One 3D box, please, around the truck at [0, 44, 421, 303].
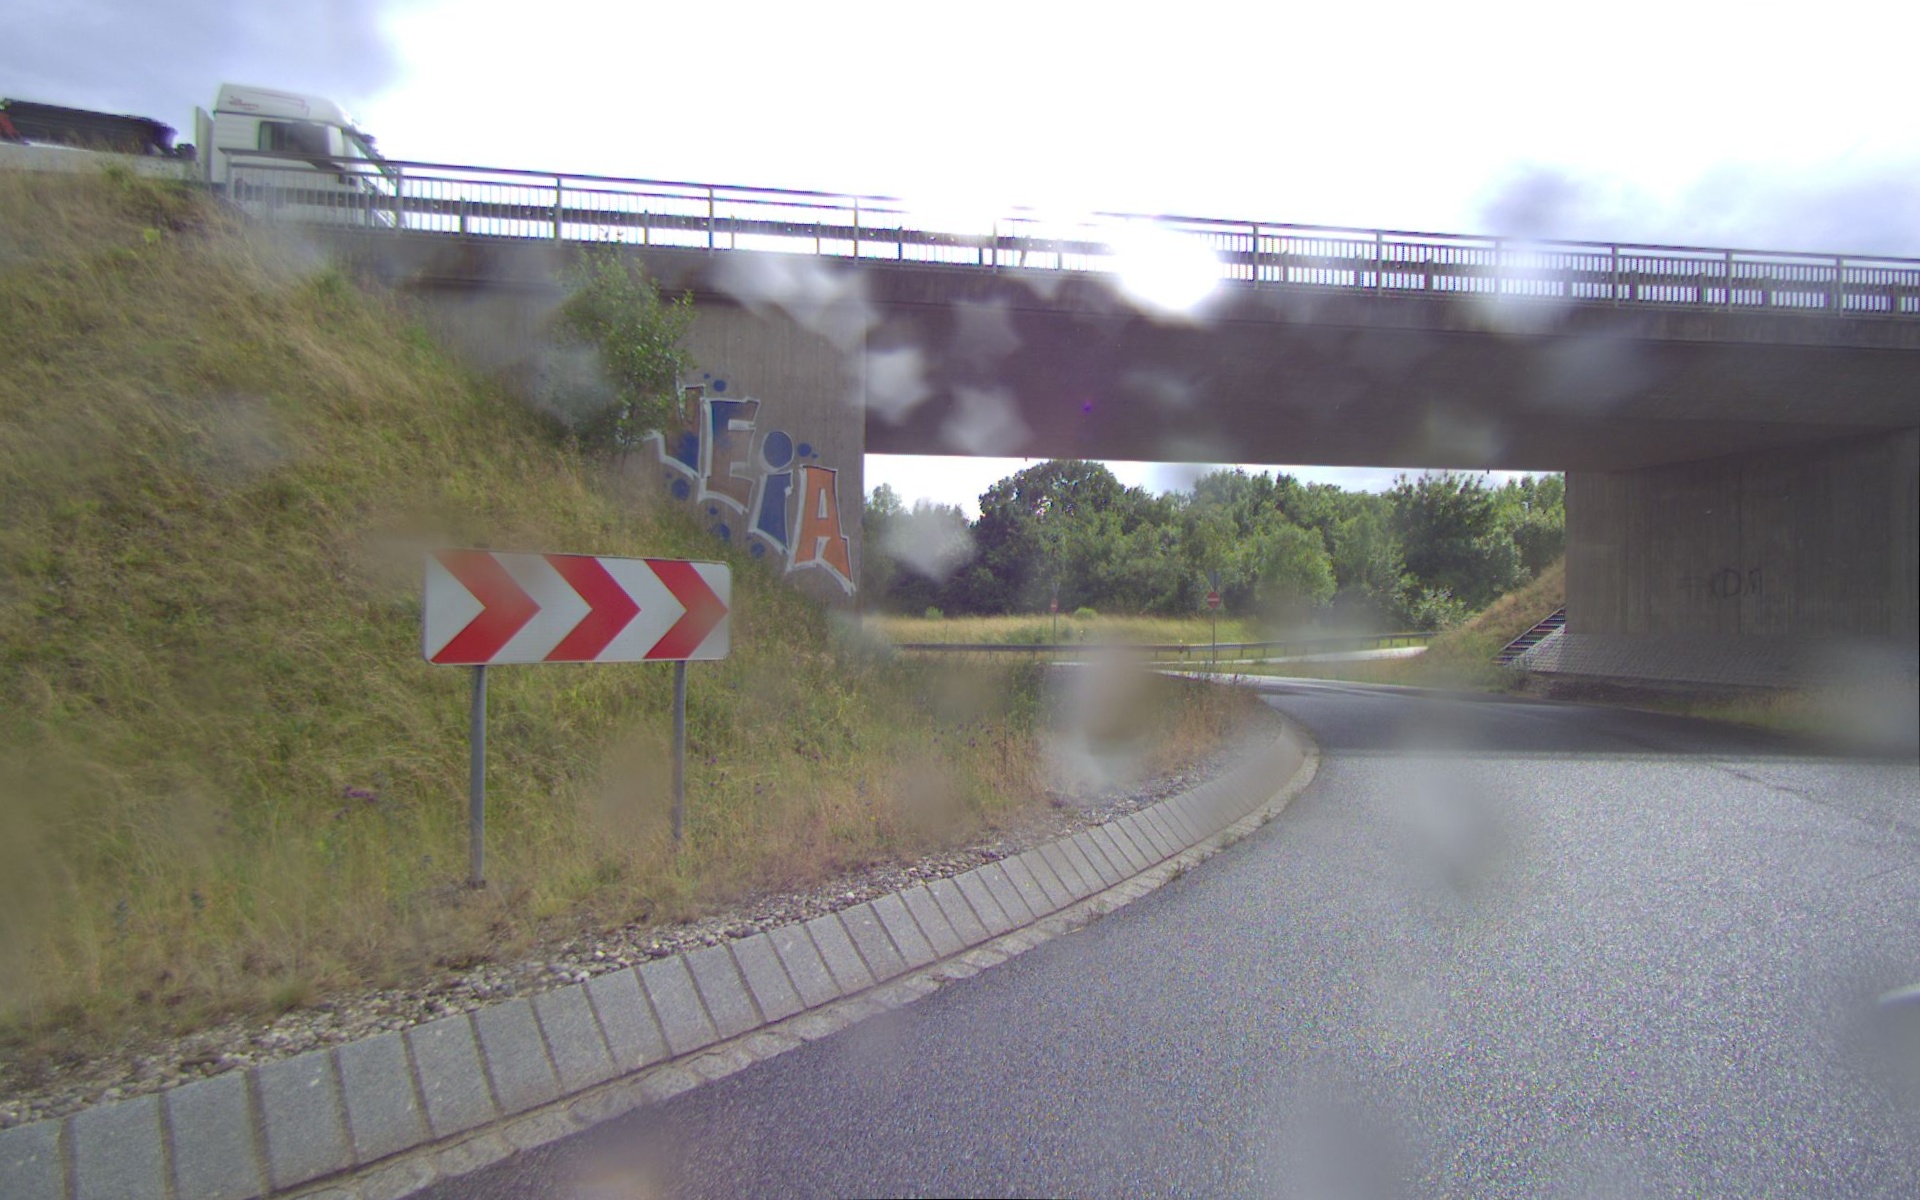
[{"bbox_3d":[-15.010,-7.073,16.458,10.636,2.912,2.202,1,0,-12],"label":"truck"}]
